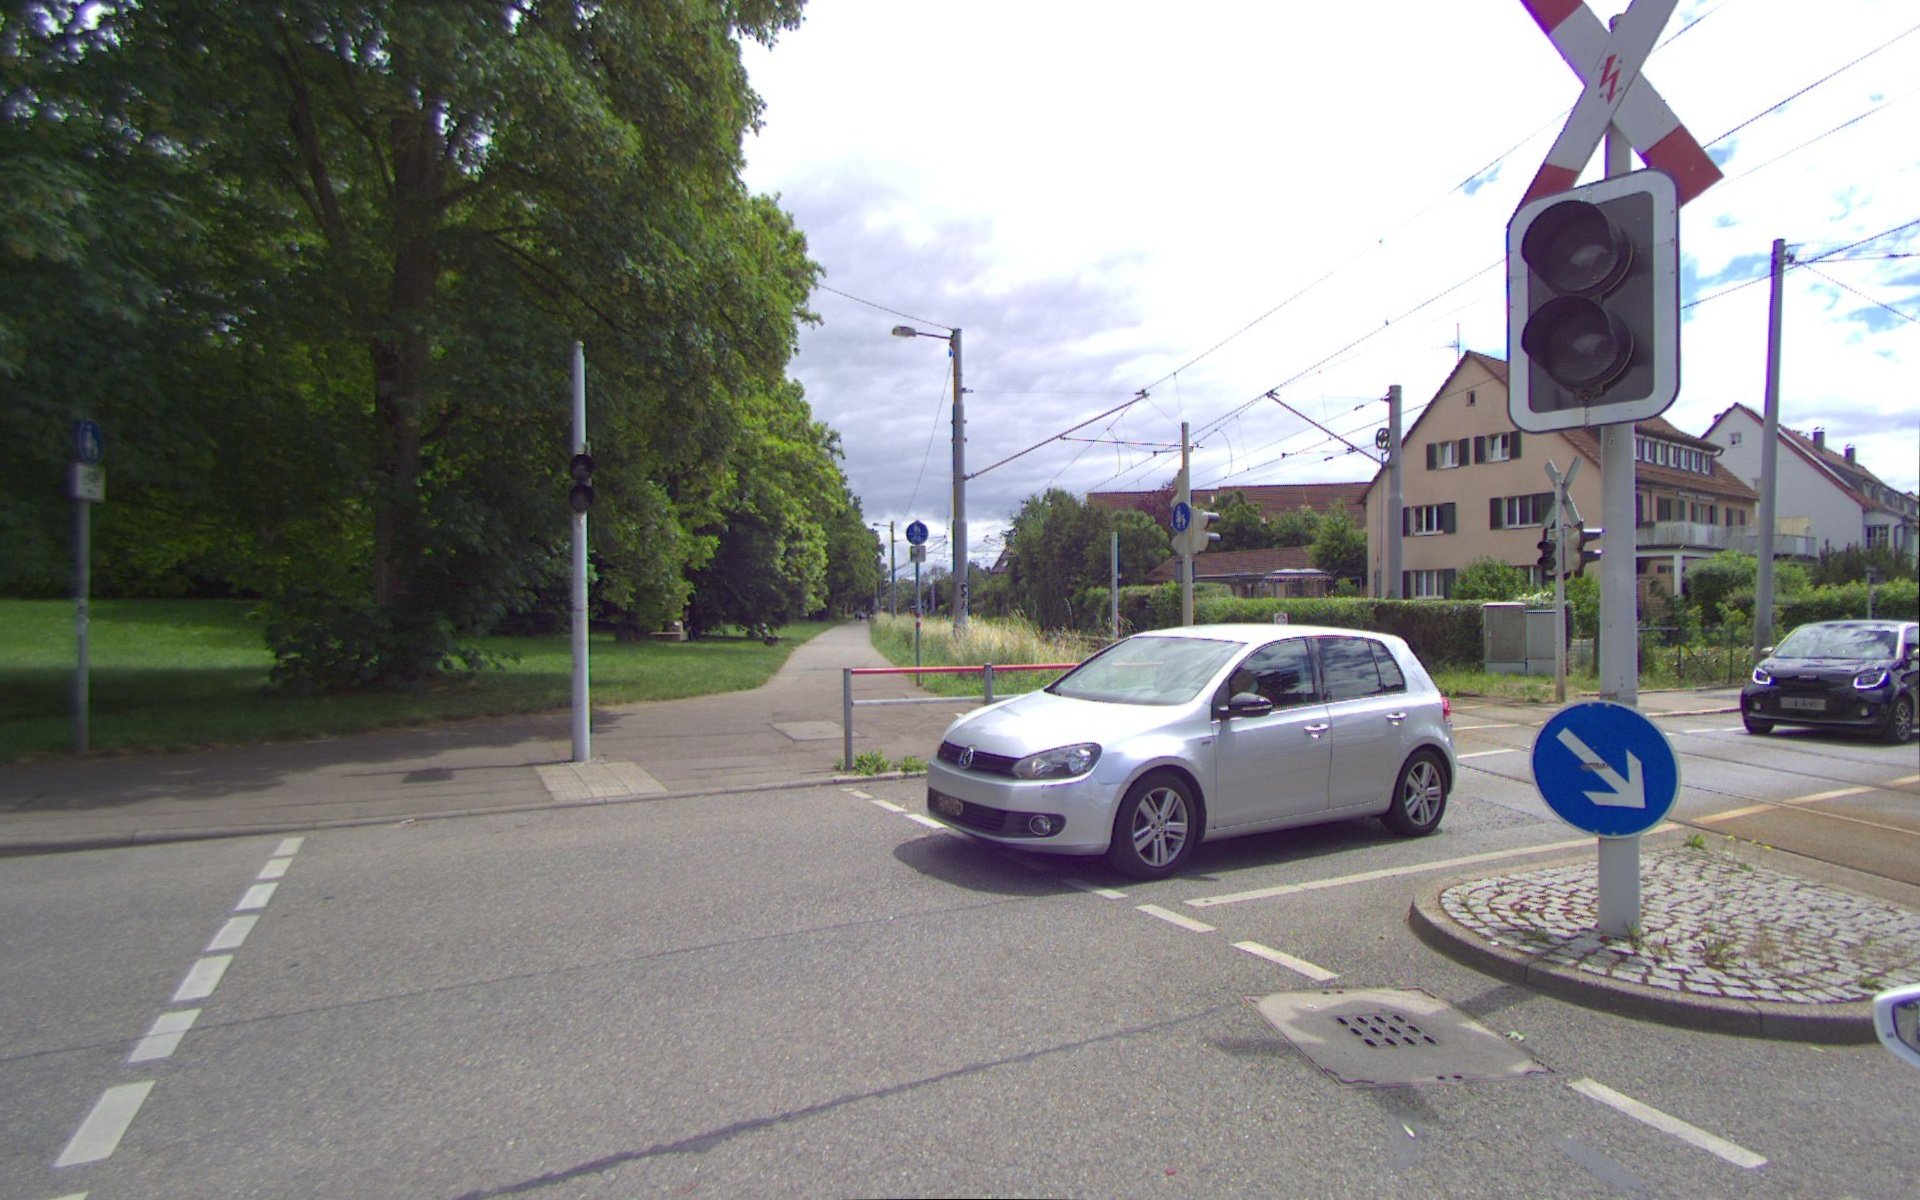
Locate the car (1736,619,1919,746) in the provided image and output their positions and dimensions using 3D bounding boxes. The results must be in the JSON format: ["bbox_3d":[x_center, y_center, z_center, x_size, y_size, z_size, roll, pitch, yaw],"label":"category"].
[{"bbox_3d":[12.016,1.025,13.529,2.755,1.530,1.567,0,-1,-30],"label":"car"}]

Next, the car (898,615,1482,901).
[{"bbox_3d":[1.726,0.883,7.020,4.026,1.477,1.678,2,-2,-33],"label":"car"}]
